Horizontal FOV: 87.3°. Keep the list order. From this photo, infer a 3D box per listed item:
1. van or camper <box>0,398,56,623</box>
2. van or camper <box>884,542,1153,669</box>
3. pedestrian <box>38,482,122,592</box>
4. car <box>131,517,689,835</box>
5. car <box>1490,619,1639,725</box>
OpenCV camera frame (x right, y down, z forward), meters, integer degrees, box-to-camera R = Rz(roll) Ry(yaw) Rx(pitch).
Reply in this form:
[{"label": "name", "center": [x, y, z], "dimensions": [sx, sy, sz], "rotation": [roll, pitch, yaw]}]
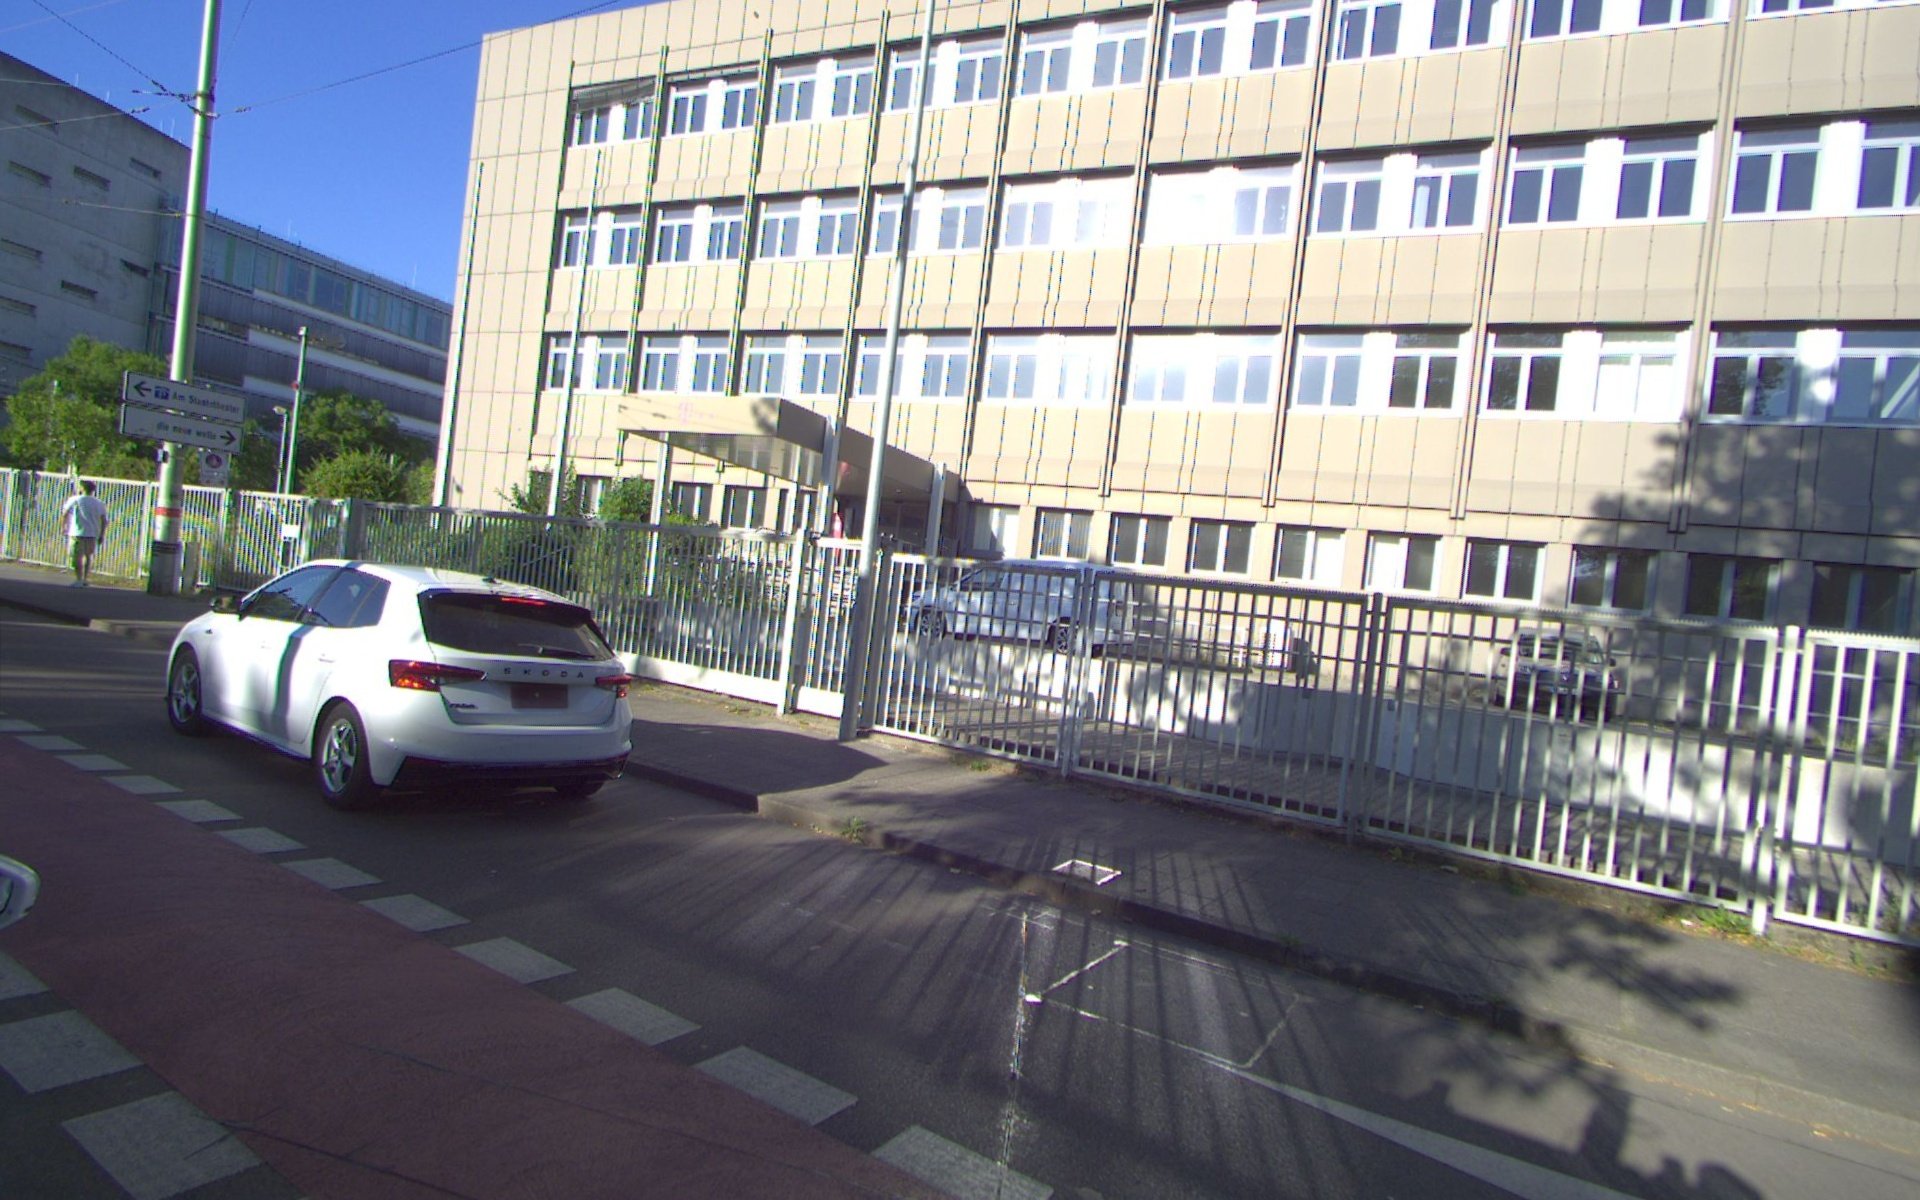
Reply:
[{"label": "van or camper", "center": [-15.115, -1.517, 13.303], "dimensions": [6.234, 2.764, 2.277], "rotation": [7, -2, 26]}, {"label": "van or camper", "center": [1.171, 0.089, 20.452], "dimensions": [4.909, 1.933, 1.985], "rotation": [7, 1, 24]}, {"label": "pedestrian", "center": [-15.260, -1.079, 17.447], "dimensions": [0.759, 1.771, 0.787], "rotation": [7, 1, 30]}, {"label": "car", "center": [-4.016, 0.397, 7.154], "dimensions": [3.918, 1.518, 1.804], "rotation": [6, -2, 35]}, {"label": "car", "center": [12.317, 1.449, 20.790], "dimensions": [1.958, 1.739, 4.263], "rotation": [7, 0, 24]}]
